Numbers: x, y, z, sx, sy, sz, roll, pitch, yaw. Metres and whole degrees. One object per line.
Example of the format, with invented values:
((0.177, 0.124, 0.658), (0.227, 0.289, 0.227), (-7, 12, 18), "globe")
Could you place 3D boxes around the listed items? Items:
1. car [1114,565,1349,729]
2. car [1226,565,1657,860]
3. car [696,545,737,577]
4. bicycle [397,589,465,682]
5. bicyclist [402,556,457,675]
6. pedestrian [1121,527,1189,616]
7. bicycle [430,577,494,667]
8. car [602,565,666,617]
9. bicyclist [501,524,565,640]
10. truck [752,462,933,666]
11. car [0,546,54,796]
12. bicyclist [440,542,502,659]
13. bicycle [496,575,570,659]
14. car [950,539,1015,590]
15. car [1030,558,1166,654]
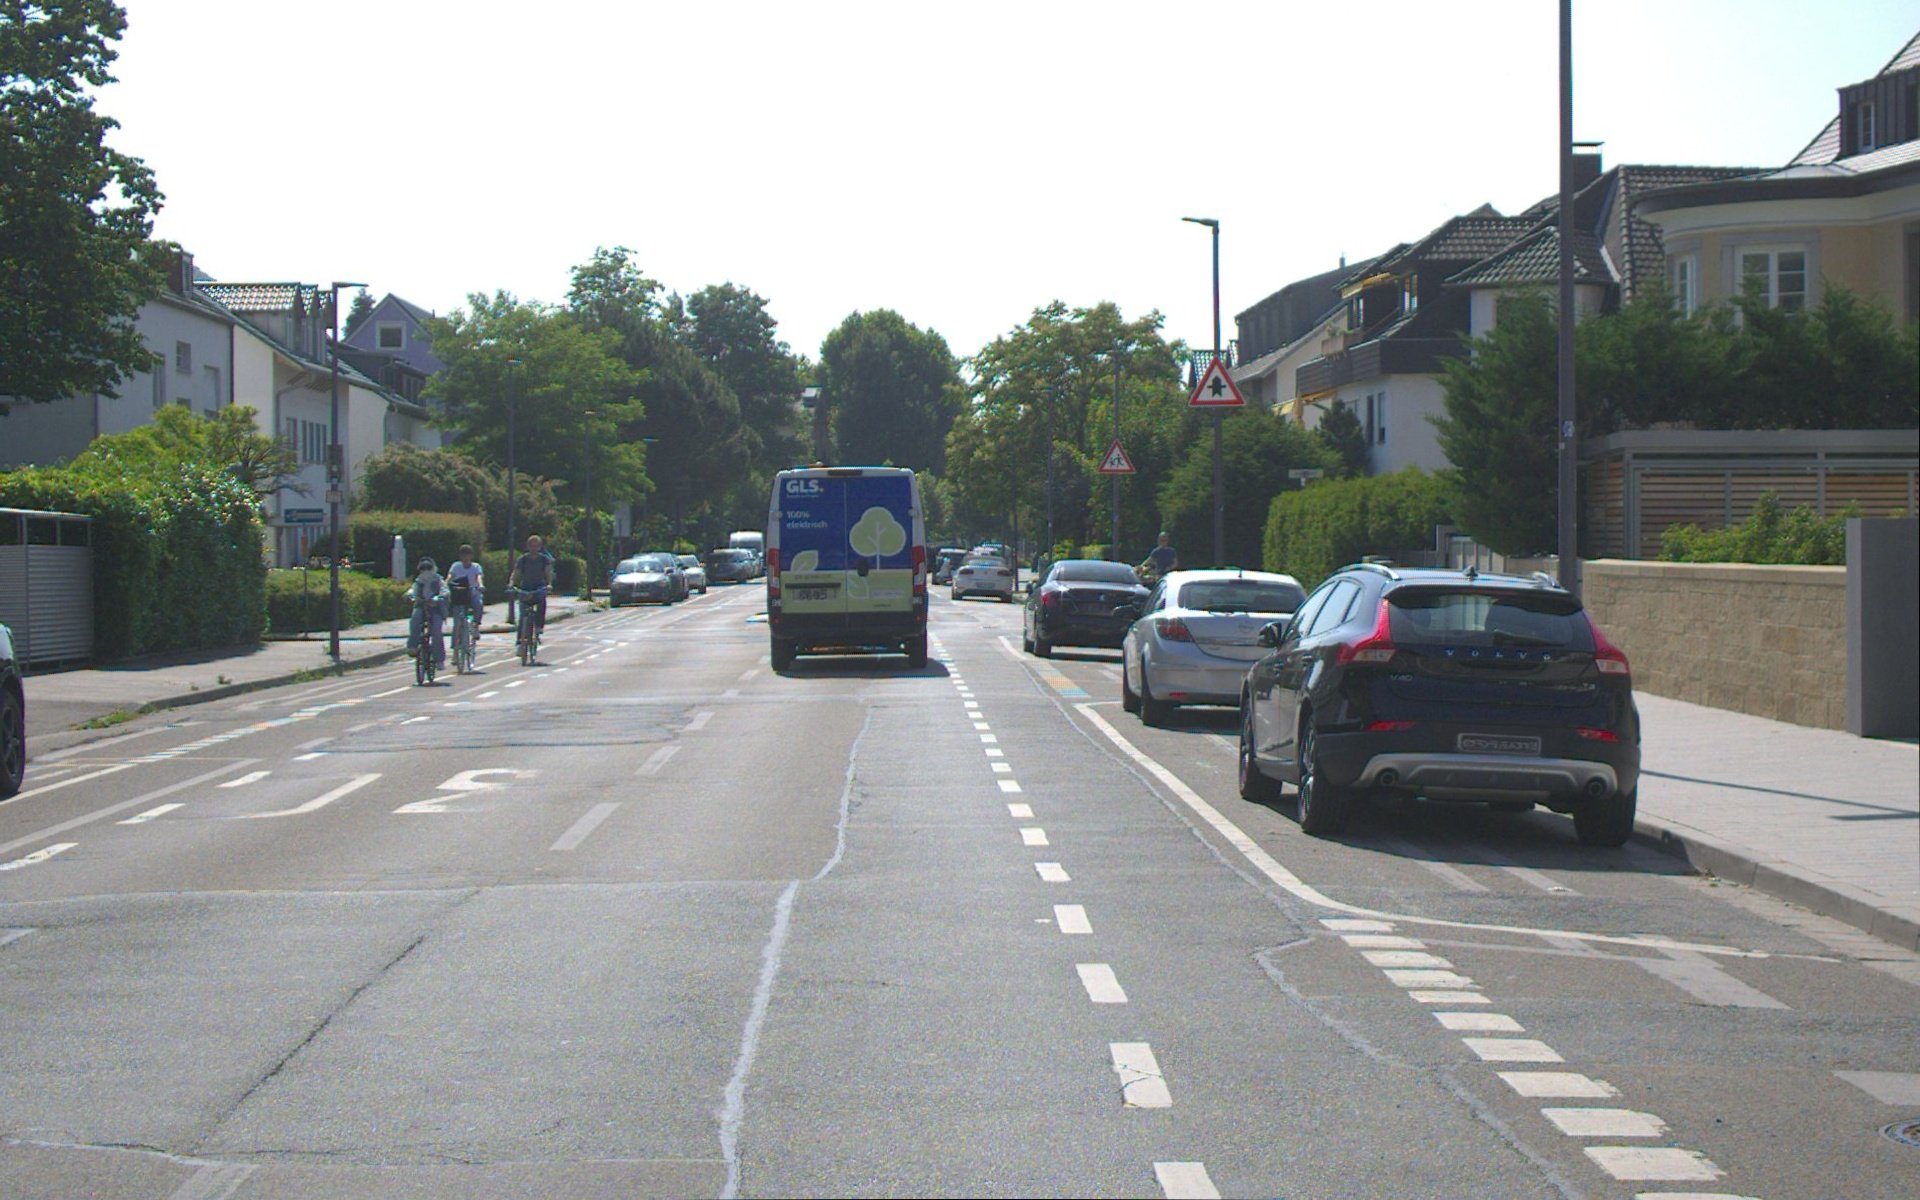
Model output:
((2.443, 0.412, 31.822), (1.736, 1.324, 4.076), (3, 0, -1), "car")
((2.644, 0.558, 19.794), (1.722, 1.444, 4.169), (3, 1, -2), "car")
((-11.321, -1.838, 160.311), (1.780, 1.455, 4.086), (-1, 1, -2), "car")
((-6.552, 0.436, 42.606), (0.600, 1.101, 1.346), (-2, 1, -1), "bicycle")
((-6.577, 0.183, 42.659), (0.490, 1.449, 0.964), (-2, 0, -1), "bicyclist")
((4.161, -0.607, 73.345), (0.899, 1.866, 1.189), (0, 1, -34), "pedestrian")
((-6.858, 0.295, 47.390), (0.559, 1.181, 2.036), (-2, 1, -1), "bicycle")
((-9.679, -0.274, 102.412), (1.785, 1.435, 4.155), (-2, 1, -4), "car")
((-6.268, -0.272, 50.513), (0.749, 1.662, 1.022), (-2, 0, -1), "bicyclist")
((-1.542, -0.477, 45.468), (2.272, 2.562, 4.392), (0, 1, -2), "truck")
((-7.122, 0.523, 21.207), (1.851, 1.605, 4.448), (-3, 1, -1), "car")
((-6.750, 0.004, 47.453), (0.676, 1.575, 0.859), (-2, 0, -1), "bicyclist")
((-6.250, 0.230, 50.423), (0.782, 1.162, 2.420), (-2, 1, -1), "bicycle")
((0.670, -1.107, 105.781), (1.740, 1.397, 4.074), (3, 2, -3), "car")
((1.997, 0.063, 50.794), (1.736, 1.324, 4.260), (-1, 1, -1), "car")
